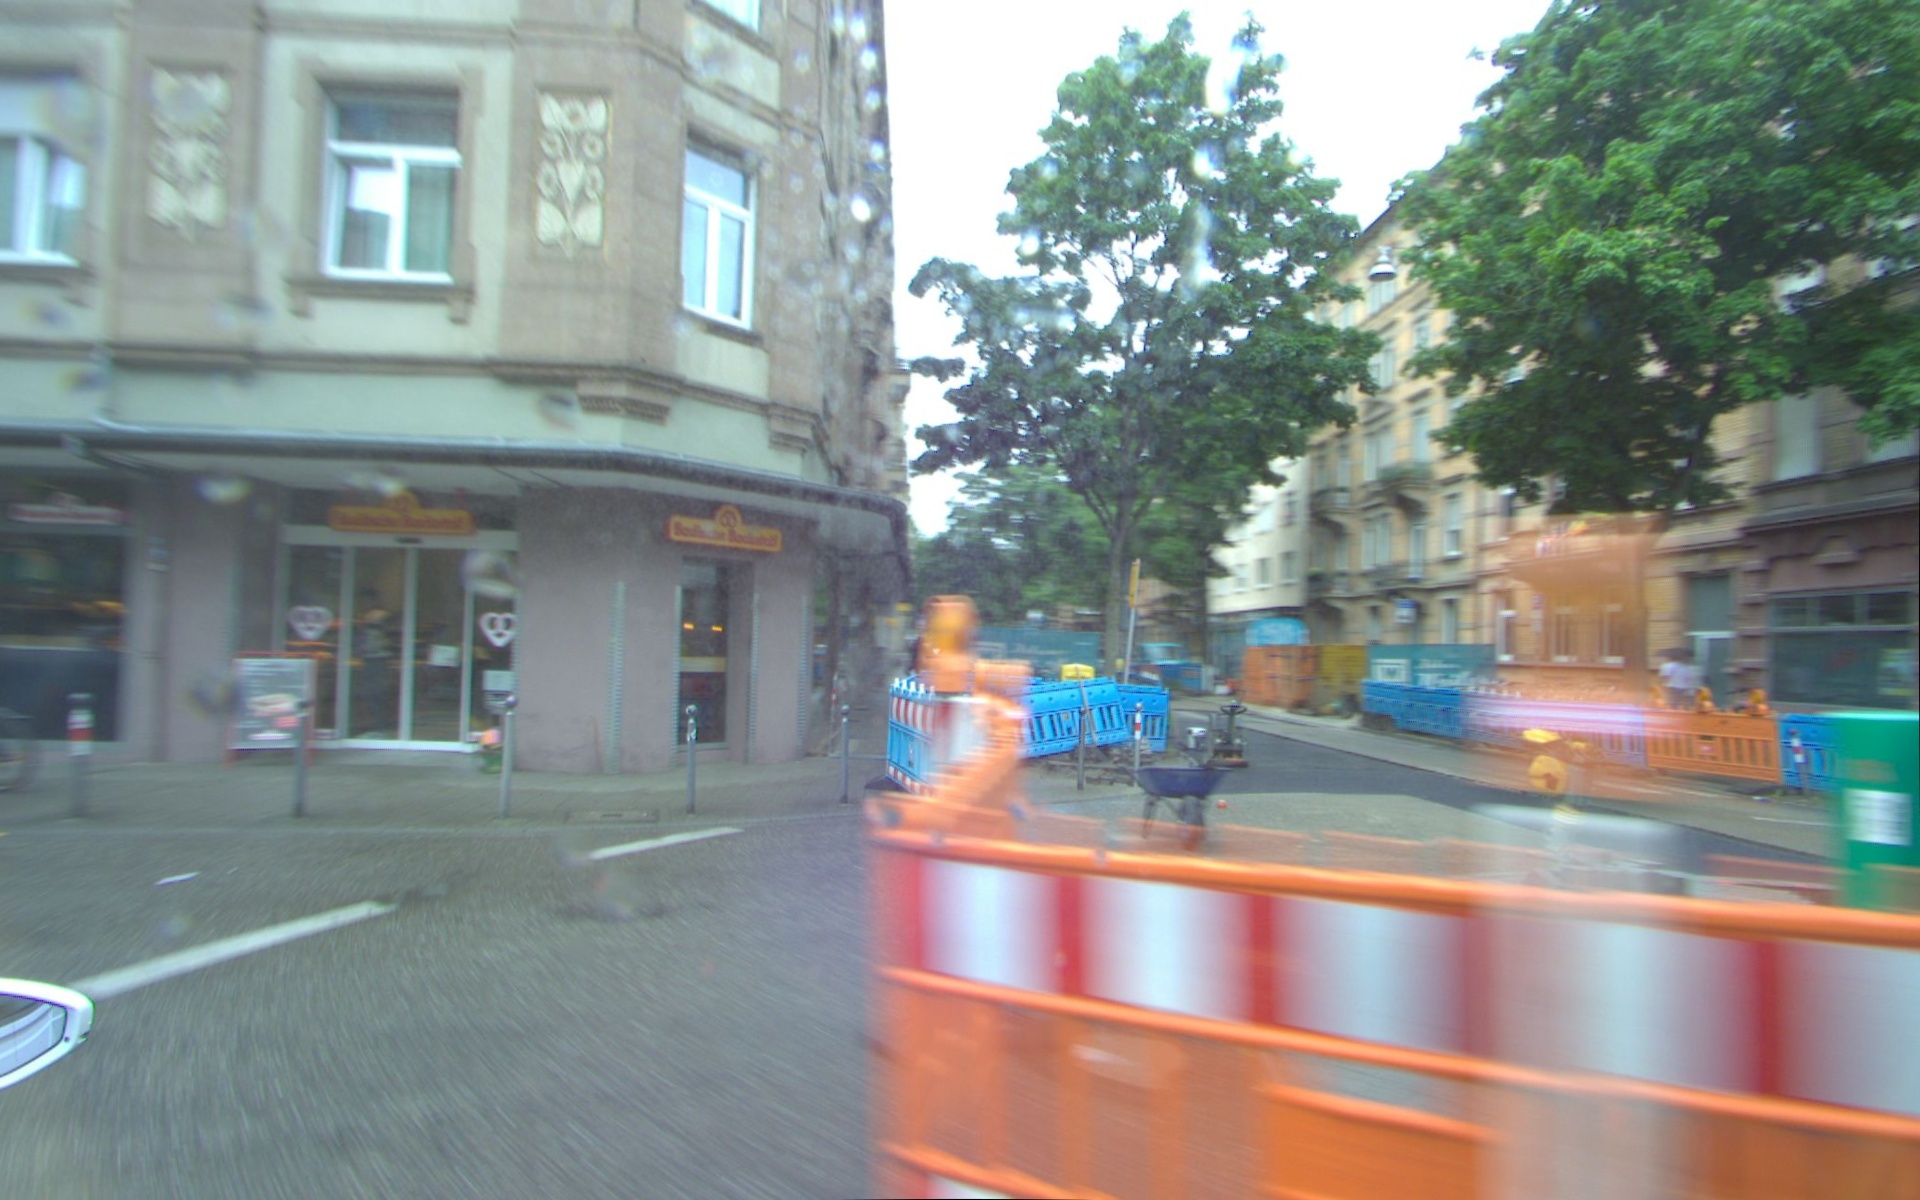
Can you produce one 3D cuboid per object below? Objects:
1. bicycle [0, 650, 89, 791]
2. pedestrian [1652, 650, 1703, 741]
[{"bbox_3d":[-8.721,0.994,8.527,1.901,1.142,0.626,2,-2,-7],"label":"bicycle"},{"bbox_3d":[15.717,2.086,21.951,0.661,1.942,0.640,1,-2,-2],"label":"pedestrian"}]
